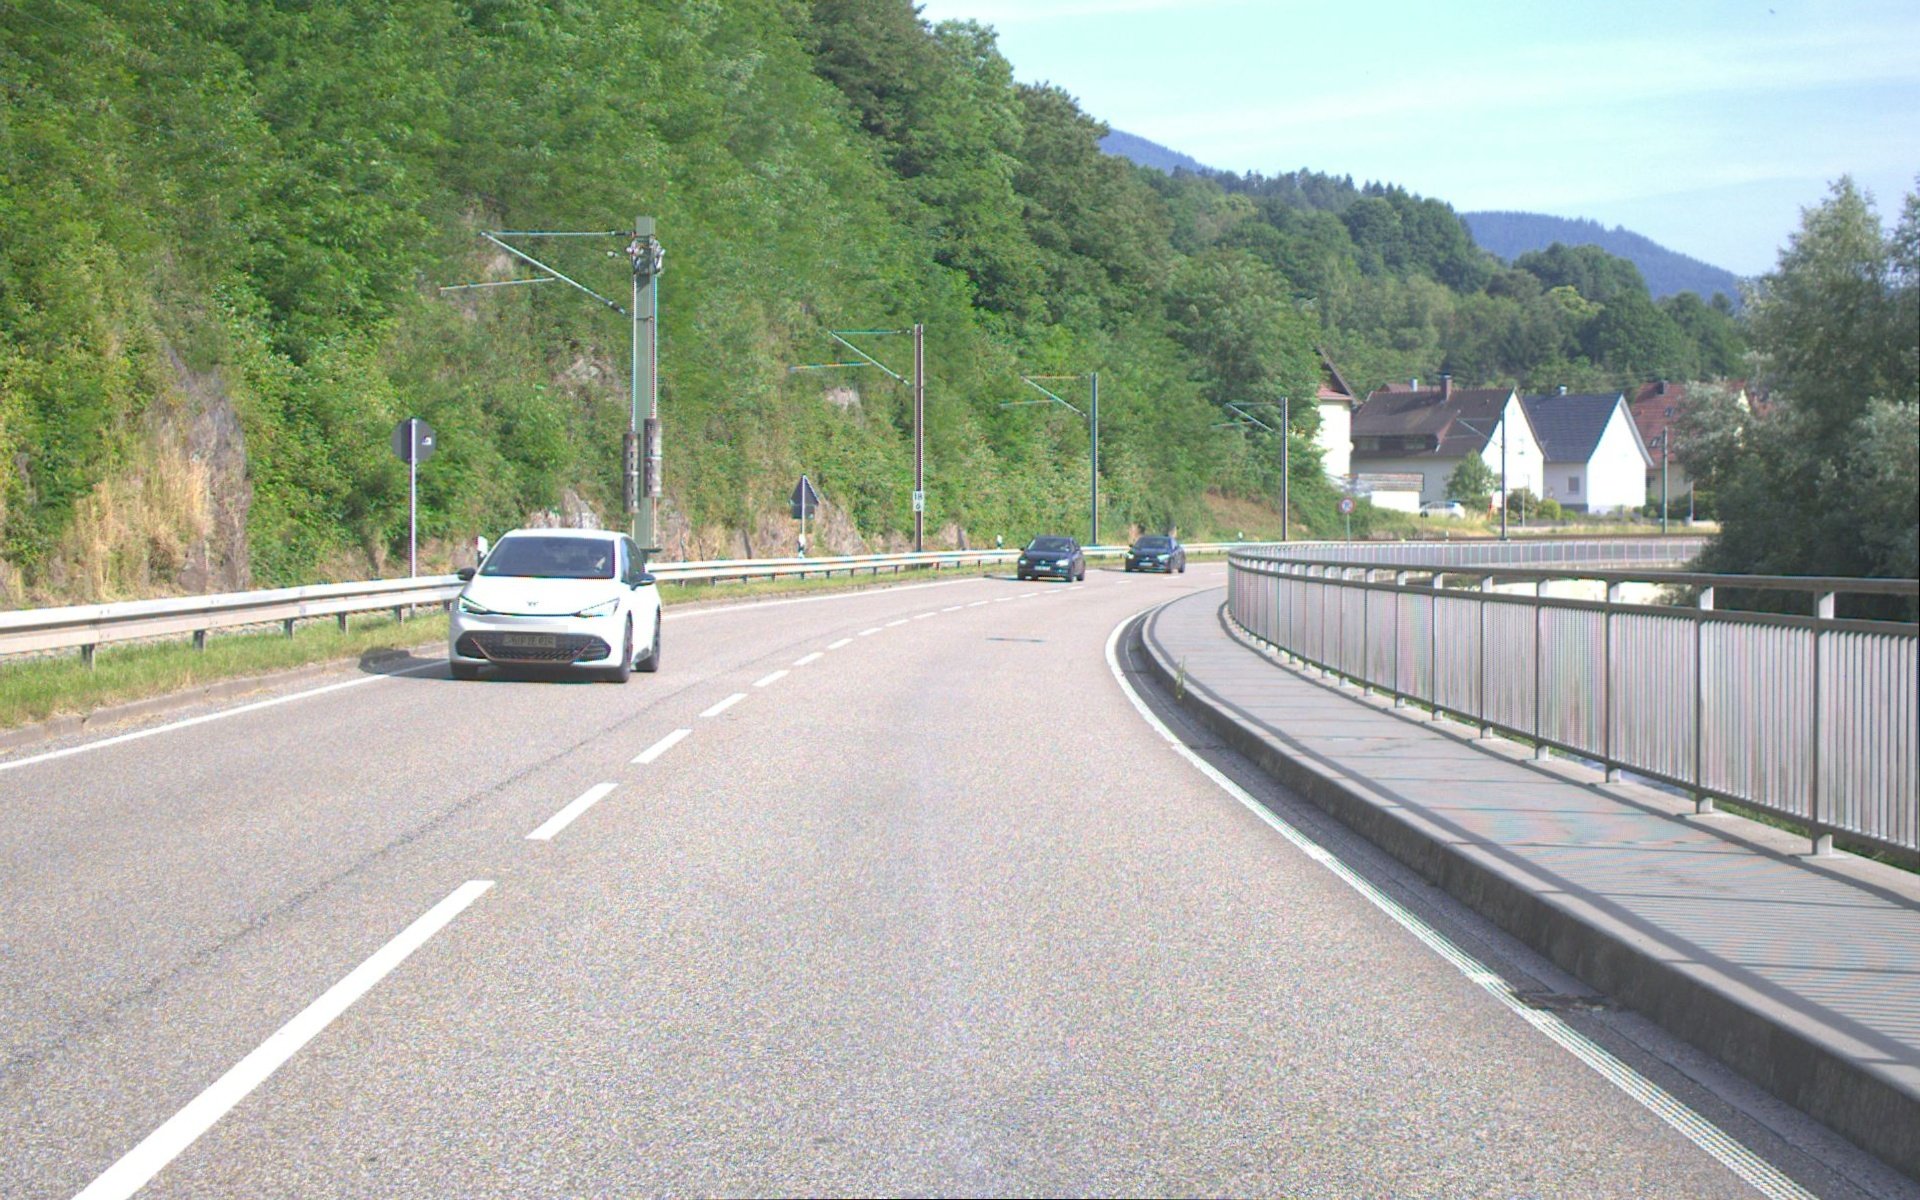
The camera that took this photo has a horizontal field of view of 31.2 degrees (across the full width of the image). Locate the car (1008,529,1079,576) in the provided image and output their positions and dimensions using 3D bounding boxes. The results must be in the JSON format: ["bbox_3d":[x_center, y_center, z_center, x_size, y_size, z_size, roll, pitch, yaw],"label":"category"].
[{"bbox_3d":[2.714,-1.560,111.091,1.848,1.435,3.896,-1,1,7],"label":"car"}]

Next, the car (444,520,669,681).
[{"bbox_3d":[-4.183,-0.044,36.234,1.847,1.539,4.604,2,1,-1],"label":"car"}]

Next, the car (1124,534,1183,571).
[{"bbox_3d":[7.546,-1.837,133.792,1.848,1.397,4.475,1,1,9],"label":"car"}]
